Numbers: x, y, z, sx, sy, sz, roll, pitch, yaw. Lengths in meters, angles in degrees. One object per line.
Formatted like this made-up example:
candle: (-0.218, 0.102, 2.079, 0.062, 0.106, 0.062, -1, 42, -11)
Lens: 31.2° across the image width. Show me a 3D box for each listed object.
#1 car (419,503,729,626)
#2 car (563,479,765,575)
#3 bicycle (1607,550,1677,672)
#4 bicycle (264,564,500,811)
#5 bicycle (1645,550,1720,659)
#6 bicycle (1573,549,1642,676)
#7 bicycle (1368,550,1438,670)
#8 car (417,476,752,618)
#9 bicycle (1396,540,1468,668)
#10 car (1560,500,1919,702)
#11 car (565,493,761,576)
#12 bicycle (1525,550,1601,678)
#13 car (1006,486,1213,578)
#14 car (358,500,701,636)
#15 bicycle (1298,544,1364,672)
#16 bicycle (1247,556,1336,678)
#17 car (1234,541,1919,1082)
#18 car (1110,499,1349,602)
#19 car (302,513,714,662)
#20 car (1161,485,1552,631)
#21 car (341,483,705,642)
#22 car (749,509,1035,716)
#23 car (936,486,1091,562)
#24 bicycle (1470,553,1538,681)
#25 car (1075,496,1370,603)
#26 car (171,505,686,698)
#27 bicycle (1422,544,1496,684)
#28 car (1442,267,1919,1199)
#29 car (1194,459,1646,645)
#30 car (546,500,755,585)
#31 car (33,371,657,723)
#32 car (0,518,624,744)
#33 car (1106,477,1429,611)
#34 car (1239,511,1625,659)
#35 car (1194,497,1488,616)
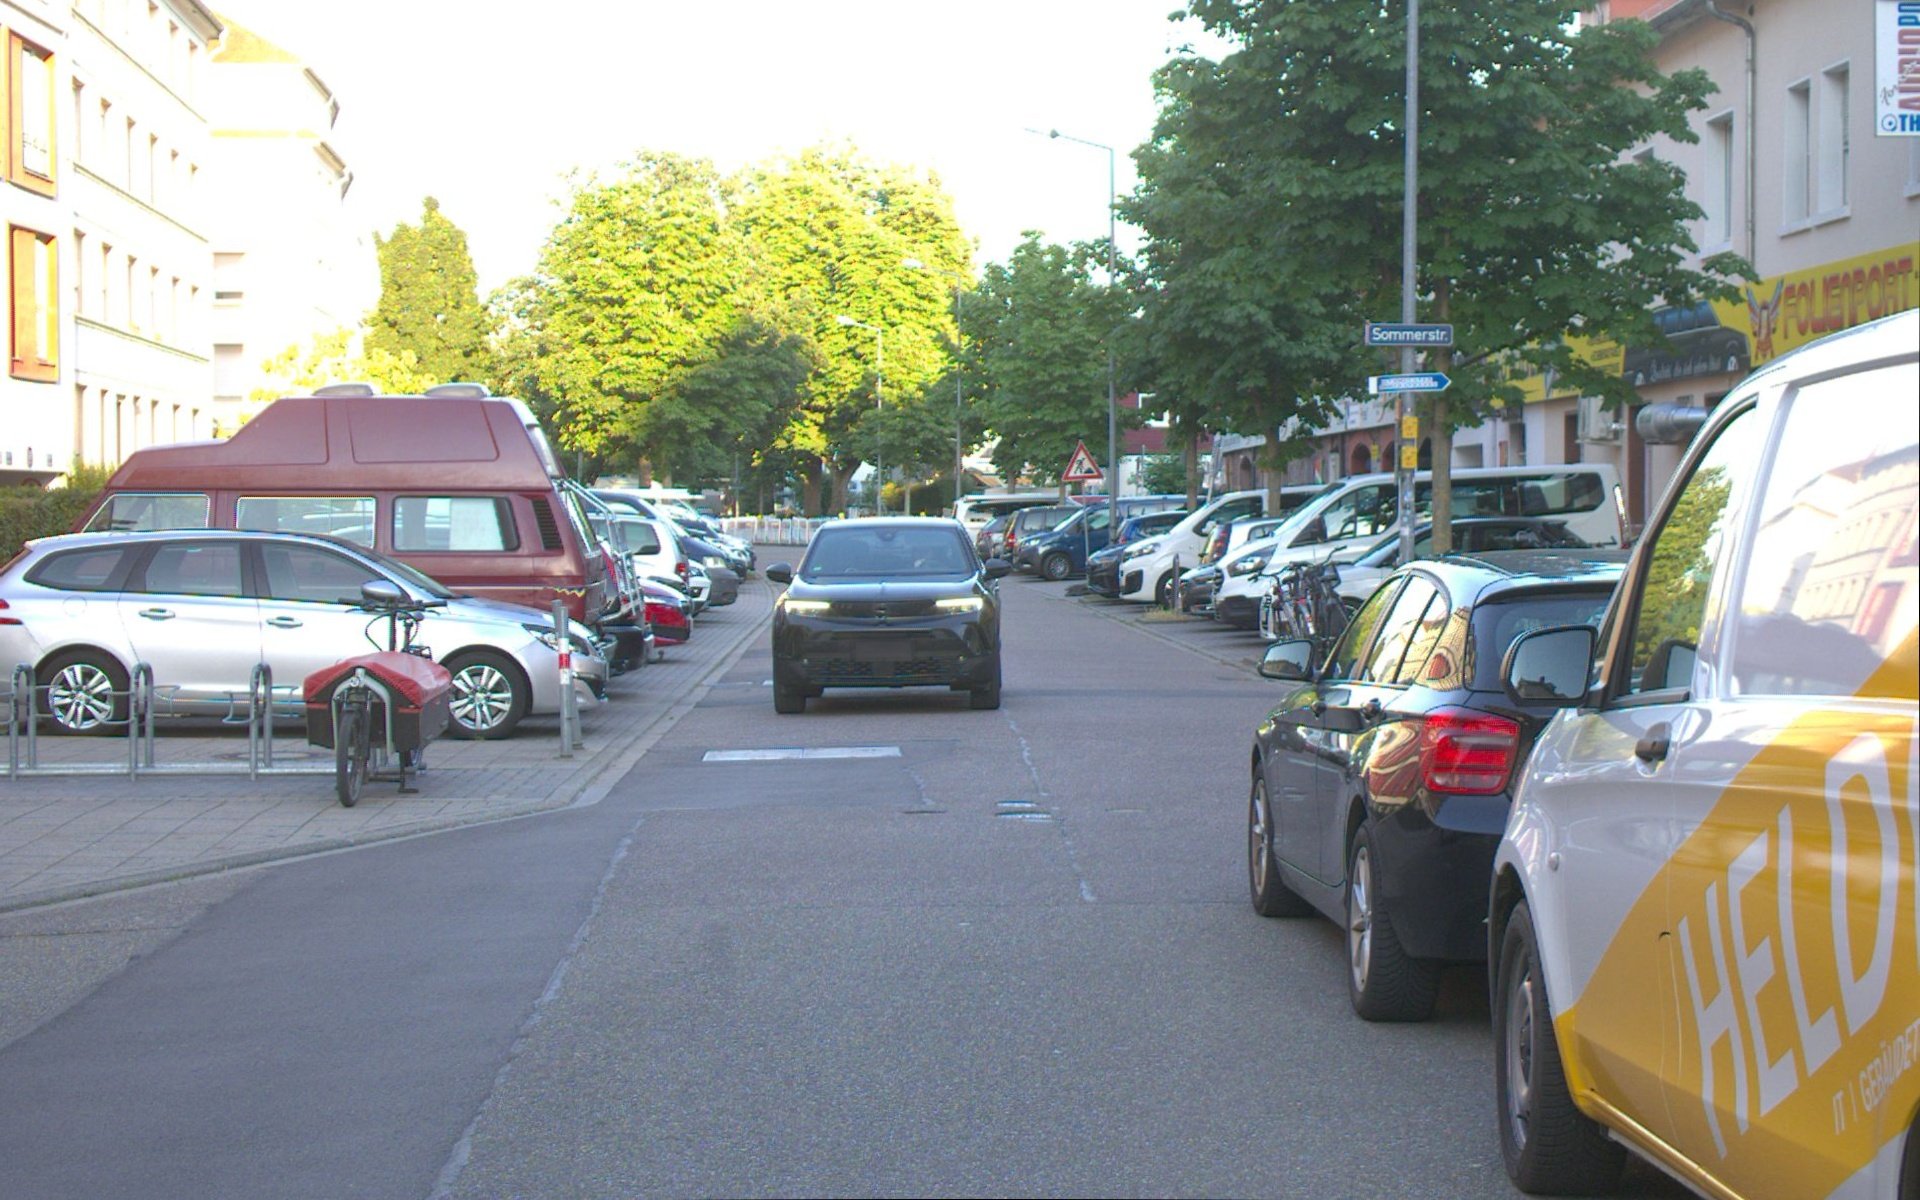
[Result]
car: (-5.526, -0.525, 49.588, 4.256, 1.646, 1.888, 1, 1, -1)
car: (-6.916, -1.716, 80.620, 4.533, 2.127, 2.000, 1, 1, -1)
bicycle: (6.696, 0.094, 33.783, 0.353, 1.139, 1.481, -1, 2, -1)
bicycle: (-3.200, 0.441, 19.318, 0.808, 1.217, 2.865, 1, 2, 0)
bicycle: (7.099, 0.034, 33.831, 0.387, 1.013, 1.481, -1, 2, -1)
bicycle: (6.337, 0.110, 33.700, 0.353, 1.196, 1.481, -1, 2, -1)
bicycle: (4.356, 0.084, 33.886, 0.386, 1.110, 2.017, -1, 2, -1)
car: (-5.651, -0.814, 52.136, 4.850, 2.014, 1.907, 1, 1, -1)
bicycle: (4.641, 0.023, 33.873, 0.386, 1.196, 2.017, -1, 2, -1)
car: (7.196, -0.028, 28.672, 4.050, 1.509, 1.756, -1, 3, 0)
car: (-6.713, -1.493, 77.989, 4.256, 1.743, 2.000, 1, 2, -1)
bicycle: (5.907, 0.127, 33.706, 0.445, 1.196, 1.481, -1, 2, -1)
car: (3.389, -1.561, 78.356, 4.478, 1.905, 1.688, -2, 1, -5)
car: (-5.618, -0.440, 45.231, 4.256, 1.654, 2.000, 1, 1, -1)
bicycle: (3.645, 0.060, 33.847, 0.386, 1.196, 2.017, -1, 2, -1)
bicycle: (3.232, 0.148, 33.659, 0.438, 1.126, 2.018, -1, 2, -6)
car: (2.016, 0.548, 11.574, 1.721, 1.419, 4.254, 1, 2, -1)
car: (5.136, -0.963, 65.805, 4.316, 1.798, 1.811, -2, 1, -2)
car: (-4.858, -0.152, 37.349, 4.209, 1.484, 1.850, 1, 1, 0)
car: (5.263, -0.579, 46.138, 4.944, 1.736, 2.049, -2, 1, 0)
car: (-5.381, -0.481, 42.759, 4.256, 1.829, 2.000, 1, 1, -1)
car: (-0.472, 0.046, 27.825, 1.780, 1.512, 3.999, -1, 1, 6)
car: (1.447, -2.072, 93.929, 3.967, 1.905, 2.050, -2, 1, -5)
bicycle: (5.329, 0.155, 33.735, 0.386, 1.196, 1.481, -1, 2, -1)
car: (4.610, -0.909, 60.894, 4.943, 1.683, 2.077, -2, 1, -2)
car: (-4.524, -0.007, 29.744, 4.208, 1.532, 1.791, 1, 1, -3)
bicycle: (4.905, 0.119, 33.887, 0.386, 1.300, 2.017, -1, 2, -1)
car: (2.215, 0.458, 5.951, 1.893, 1.877, 5.083, 0, 2, -2)
car: (5.385, -0.585, 40.792, 4.989, 1.976, 2.220, -2, 1, 0)
car: (-6.560, -1.234, 73.222, 4.256, 1.709, 2.000, 1, 1, -1)
car: (-4.772, -0.432, 27.161, 4.511, 2.575, 2.000, 1, 1, 1)
car: (-4.756, 0.199, 24.598, 4.615, 1.455, 1.881, 1, 1, -4)
car: (4.972, -0.924, 56.047, 4.943, 1.951, 2.049, -2, 1, -2)
car: (5.174, -0.187, 38.013, 3.918, 1.446, 1.769, -2, 2, -3)
car: (5.363, -0.630, 48.772, 3.911, 1.521, 1.939, -2, 1, 0)
